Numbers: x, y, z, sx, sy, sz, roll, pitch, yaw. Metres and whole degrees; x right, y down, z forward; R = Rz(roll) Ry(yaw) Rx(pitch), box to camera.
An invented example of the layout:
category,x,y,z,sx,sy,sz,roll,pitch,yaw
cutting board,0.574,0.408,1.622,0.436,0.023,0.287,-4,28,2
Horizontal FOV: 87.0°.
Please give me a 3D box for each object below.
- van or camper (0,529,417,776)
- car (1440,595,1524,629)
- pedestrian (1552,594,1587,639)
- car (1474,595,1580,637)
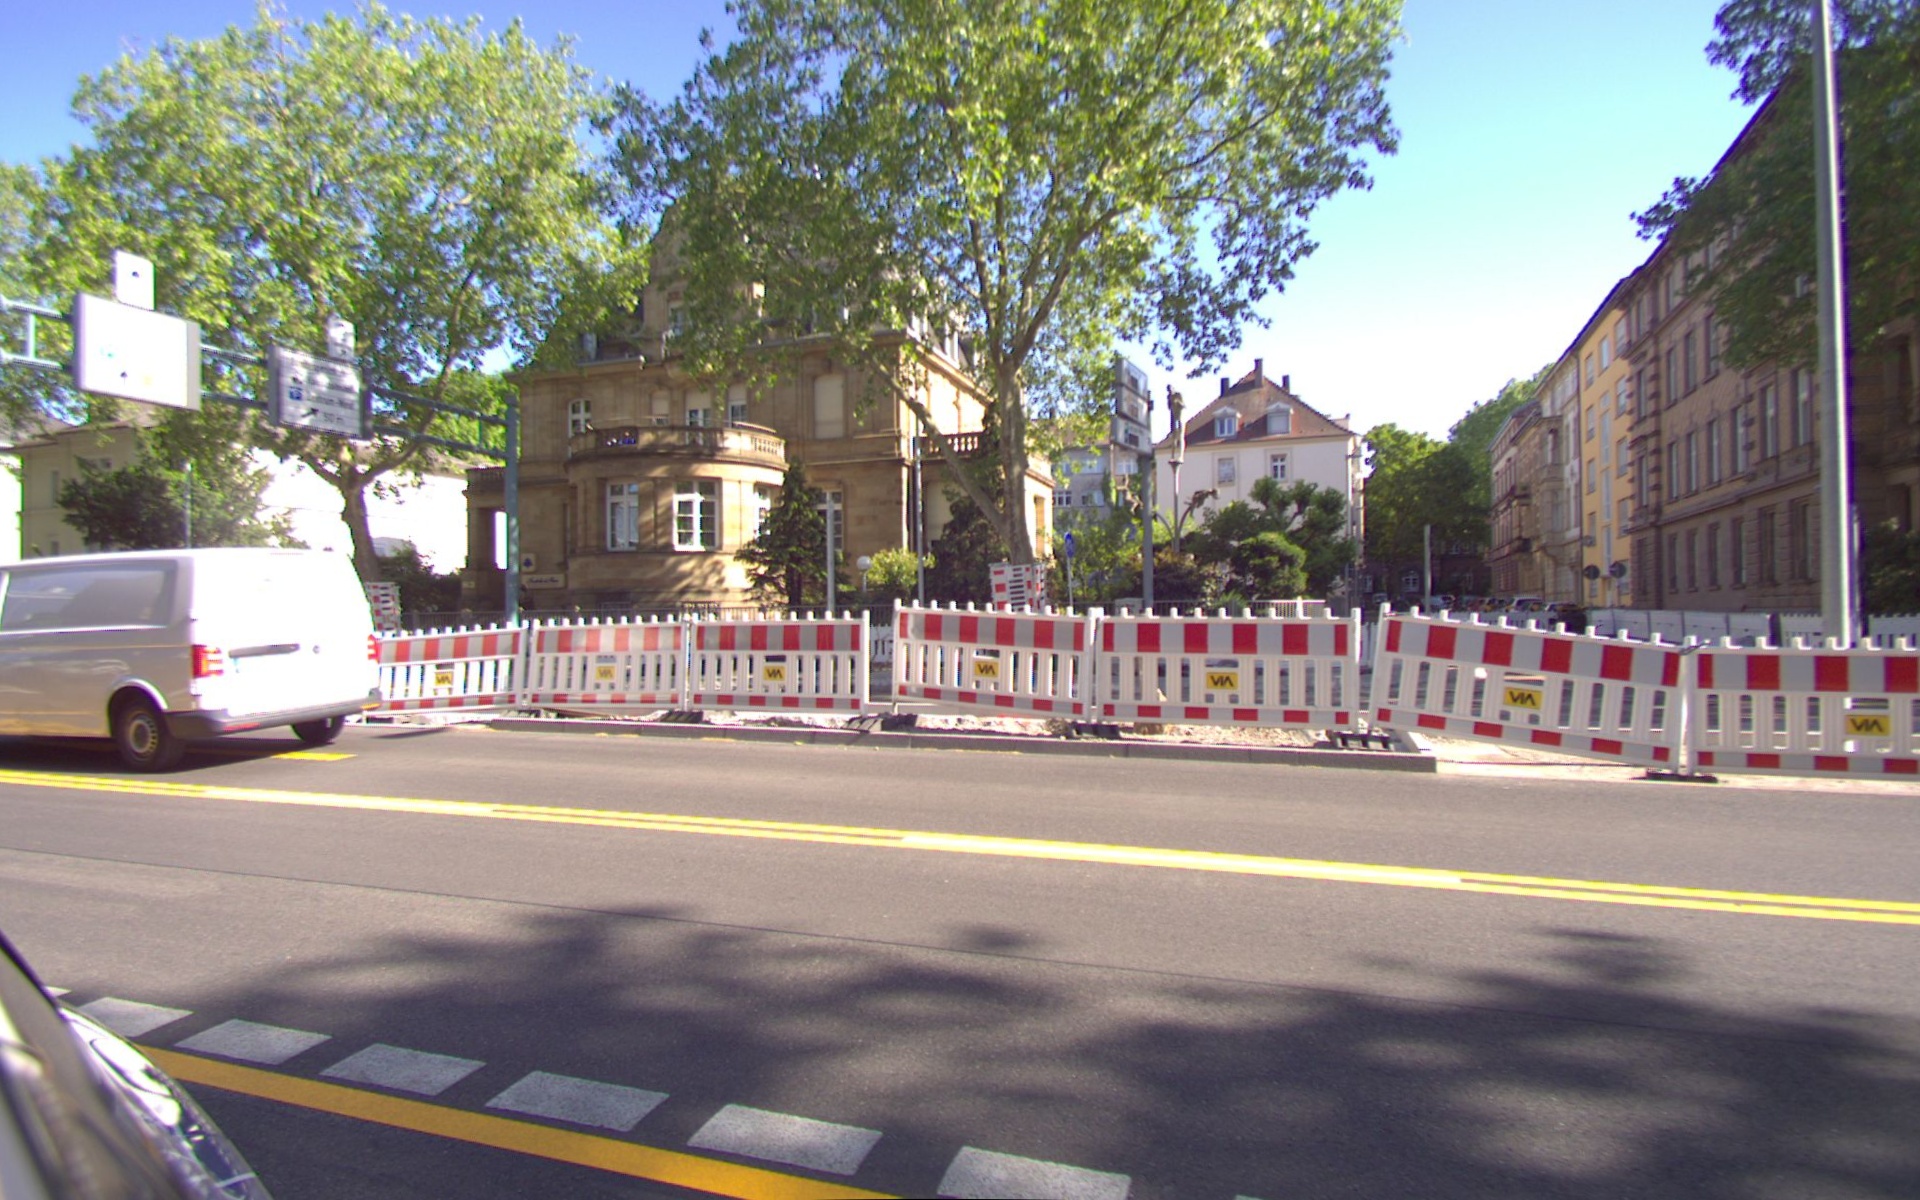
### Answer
category,x,y,z,sx,sy,sz,roll,pitch,yaw
van or camper,-8.308,0.466,10.125,5.285,2.029,1.988,-1,0,19
car,27.556,0.646,53.564,3.778,1.749,1.610,-1,-1,23
pedestrian,23.221,0.622,38.581,0.749,1.673,0.829,-1,-1,-5
car,24.618,0.697,44.072,3.778,1.749,1.610,-1,-1,23
